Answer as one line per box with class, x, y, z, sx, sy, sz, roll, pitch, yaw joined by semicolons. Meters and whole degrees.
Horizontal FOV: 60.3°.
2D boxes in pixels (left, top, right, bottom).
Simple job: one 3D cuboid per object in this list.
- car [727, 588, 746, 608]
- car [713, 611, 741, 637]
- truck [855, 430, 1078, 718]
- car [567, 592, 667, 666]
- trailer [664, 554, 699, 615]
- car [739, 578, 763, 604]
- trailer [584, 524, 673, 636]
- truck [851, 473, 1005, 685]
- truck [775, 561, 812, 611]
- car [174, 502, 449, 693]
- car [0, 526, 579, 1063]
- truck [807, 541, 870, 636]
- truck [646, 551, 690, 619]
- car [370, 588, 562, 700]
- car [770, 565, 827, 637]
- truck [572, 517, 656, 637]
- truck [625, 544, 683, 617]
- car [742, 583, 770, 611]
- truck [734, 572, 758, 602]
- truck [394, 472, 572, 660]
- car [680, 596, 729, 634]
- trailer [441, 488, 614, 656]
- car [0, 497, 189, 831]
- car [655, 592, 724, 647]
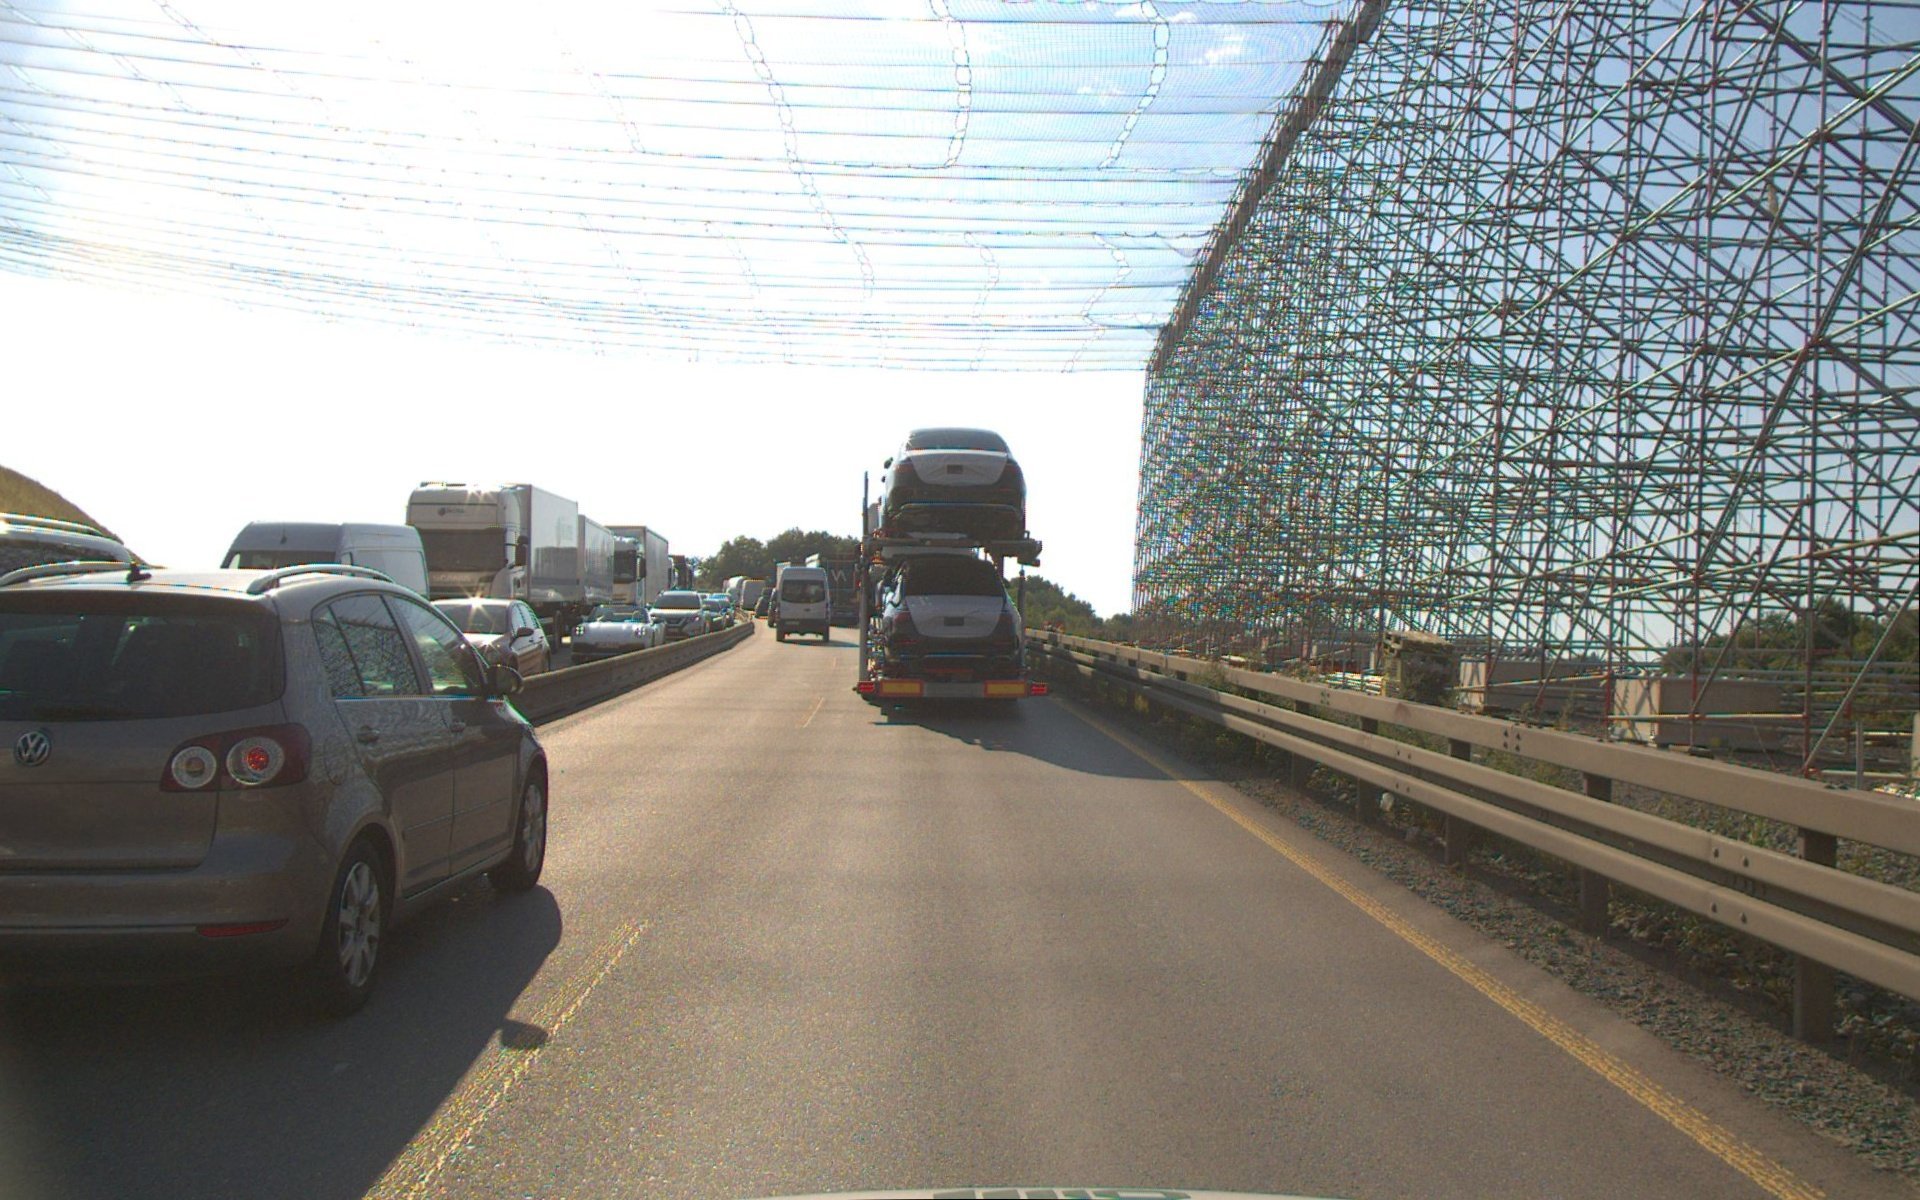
car;-21.642;-0.146;160.014;1.803;1.868;3.993;1;0;-8
car;-15.087;1.559;106.821;1.718;1.614;3.934;1;0;-9
truck;-0.251;-0.305;25.998;2.744;3.558;10.597;1;0;-4
car;-7.896;0.644;38.400;1.773;1.595;4.361;1;0;-5
trailer;-21.134;-1.114;125.272;2.431;4.404;10.484;1;0;-10
car;-16.496;-0.689;130.325;1.601;2.049;3.989;1;0;-11
trailer;-13.301;-0.713;67.313;2.381;4.032;14.076;1;0;-7
truck;-0.895;-0.359;35.403;2.782;3.858;9.979;1;0;-4
truck;-13.180;-1.046;130.432;2.484;3.712;8.887;1;0;-9
car;-10.618;-0.019;27.835;2.197;2.760;7.076;1;0;-4
car;-2.927;0.596;7.047;1.657;1.624;4.000;1;0;0
truck;-7.343;-0.651;98.907;3.223;5.328;9.920;1;0;-7
truck;-17.299;-0.851;98.209;2.388;3.851;5.605;1;0;-9
car;-7.048;0.591;24.046;1.773;1.444;4.513;1;0;-5
car;-6.054;0.031;61.474;1.884;2.536;5.399;1;0;-7
truck;-12.534;-0.784;60.314;2.426;4.116;5.609;1;0;-7
truck;-14.994;-0.897;81.312;2.368;3.429;5.608;1;0;-7
car;-13.683;-0.189;111.084;1.791;1.803;3.994;1;0;-7
truck;-23.845;-1.375;184.133;2.542;3.226;6.665;1;0;-8
truck;-11.044;-0.718;39.026;2.579;3.978;7.197;1;0;-5
car;-10.614;0.615;69.015;1.743;1.475;4.657;1;0;-6
trailer;-12.001;-0.657;47.300;2.618;4.086;13.317;1;0;-5
car;-6.342;0.353;9.209;1.772;1.902;5.279;1;0;-2
car;-8.363;0.586;51.472;1.773;1.595;4.361;1;0;-5
